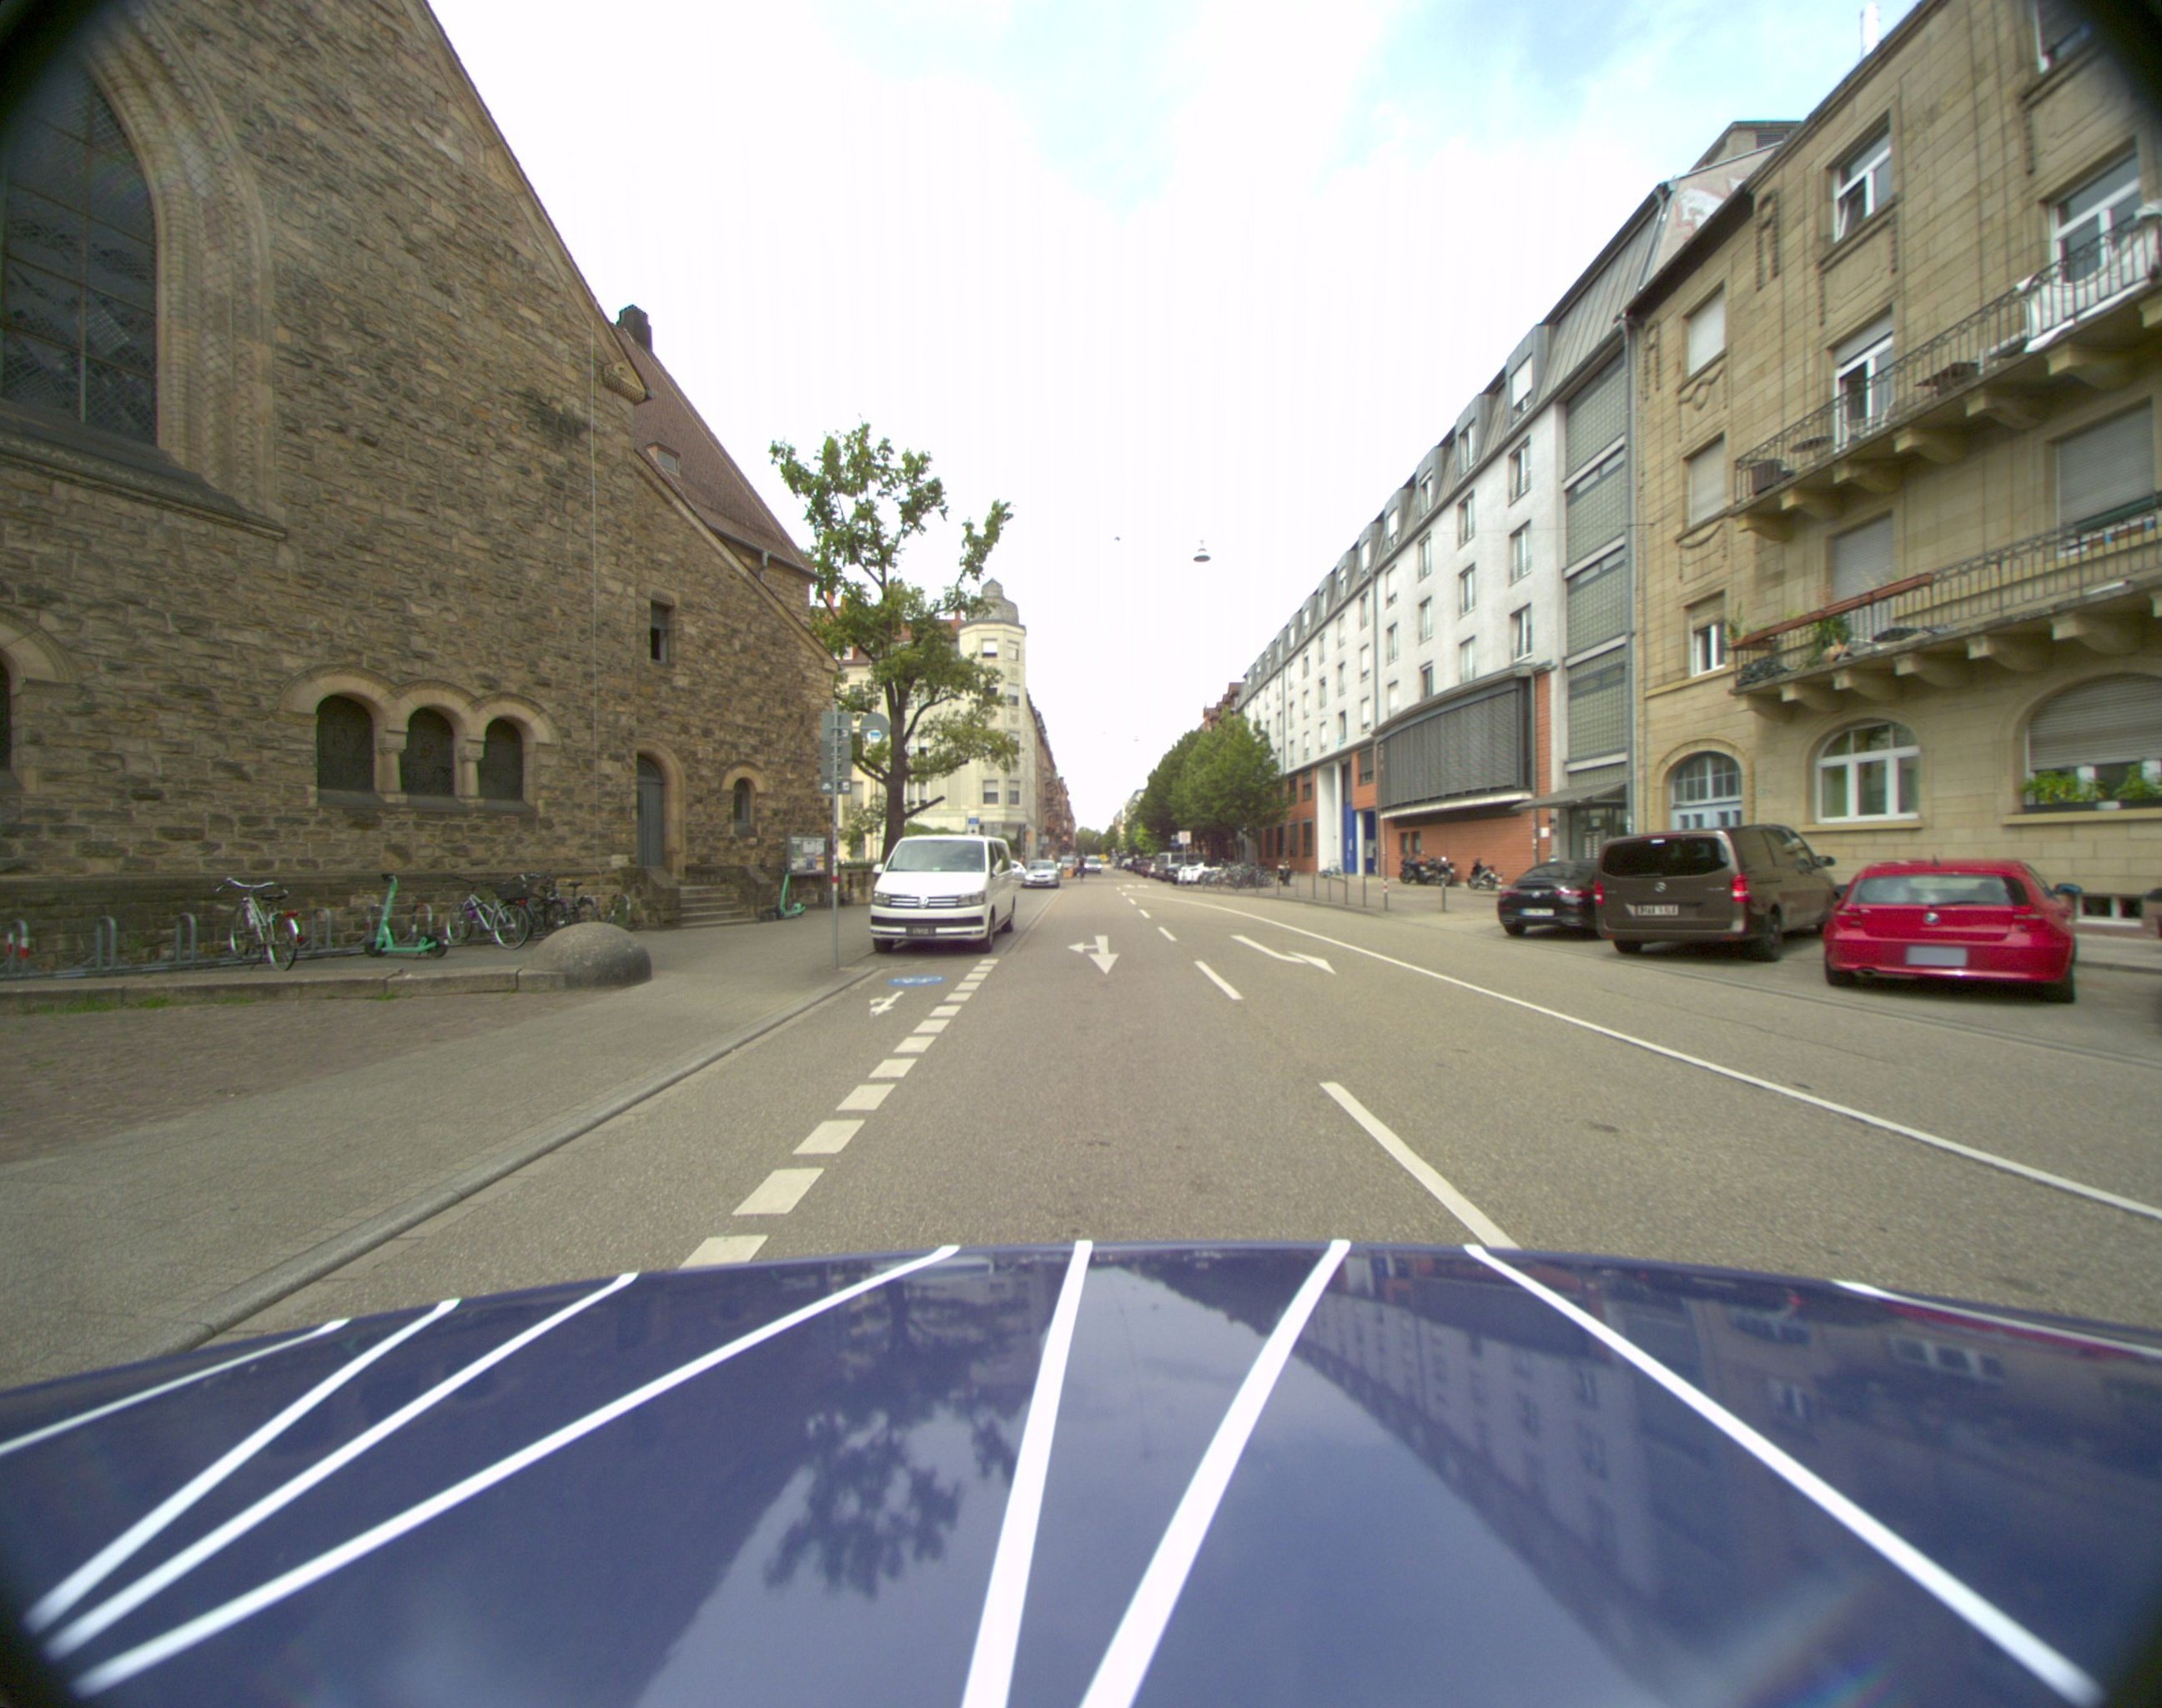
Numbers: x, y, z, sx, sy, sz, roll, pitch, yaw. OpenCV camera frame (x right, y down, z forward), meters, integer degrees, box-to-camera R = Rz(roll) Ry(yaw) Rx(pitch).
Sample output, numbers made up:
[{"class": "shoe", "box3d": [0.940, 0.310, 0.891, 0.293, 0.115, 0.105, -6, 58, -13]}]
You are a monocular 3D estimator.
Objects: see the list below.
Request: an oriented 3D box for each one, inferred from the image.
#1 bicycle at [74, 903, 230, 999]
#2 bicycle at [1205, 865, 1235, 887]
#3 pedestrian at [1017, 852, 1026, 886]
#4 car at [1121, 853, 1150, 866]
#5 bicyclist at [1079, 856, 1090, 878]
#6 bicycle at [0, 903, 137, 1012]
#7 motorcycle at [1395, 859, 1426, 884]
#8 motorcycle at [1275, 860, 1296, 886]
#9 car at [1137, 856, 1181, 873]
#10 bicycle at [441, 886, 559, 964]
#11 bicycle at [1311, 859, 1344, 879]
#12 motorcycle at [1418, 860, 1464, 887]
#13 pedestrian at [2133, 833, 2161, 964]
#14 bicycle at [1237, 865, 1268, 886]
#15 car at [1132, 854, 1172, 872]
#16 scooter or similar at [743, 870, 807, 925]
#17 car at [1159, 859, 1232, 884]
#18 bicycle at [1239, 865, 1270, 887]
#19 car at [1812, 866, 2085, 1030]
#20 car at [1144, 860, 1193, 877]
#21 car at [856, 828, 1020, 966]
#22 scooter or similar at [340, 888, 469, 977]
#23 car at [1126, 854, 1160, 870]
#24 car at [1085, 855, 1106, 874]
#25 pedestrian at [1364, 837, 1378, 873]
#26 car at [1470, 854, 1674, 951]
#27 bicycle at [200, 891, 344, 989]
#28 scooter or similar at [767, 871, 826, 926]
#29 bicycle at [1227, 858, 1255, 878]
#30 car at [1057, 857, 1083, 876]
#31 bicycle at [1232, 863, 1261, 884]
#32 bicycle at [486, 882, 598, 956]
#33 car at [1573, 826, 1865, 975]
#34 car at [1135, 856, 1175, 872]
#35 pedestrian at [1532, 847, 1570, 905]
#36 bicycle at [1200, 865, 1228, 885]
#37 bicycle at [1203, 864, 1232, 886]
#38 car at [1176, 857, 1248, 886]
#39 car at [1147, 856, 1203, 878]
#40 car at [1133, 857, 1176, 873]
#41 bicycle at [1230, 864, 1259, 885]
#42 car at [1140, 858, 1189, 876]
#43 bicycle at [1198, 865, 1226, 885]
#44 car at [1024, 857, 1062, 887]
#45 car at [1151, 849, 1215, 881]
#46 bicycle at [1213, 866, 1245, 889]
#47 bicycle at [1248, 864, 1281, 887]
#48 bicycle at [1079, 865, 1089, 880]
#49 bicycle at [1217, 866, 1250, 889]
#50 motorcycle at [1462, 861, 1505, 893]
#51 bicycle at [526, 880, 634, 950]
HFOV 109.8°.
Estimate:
[{"class": "bicycle", "box3d": [-10.505, 1.064, 8.591, 1.778, 0.951, 0.547, 0, 0, 20]}, {"class": "bicycle", "box3d": [7.036, 1.136, 38.535, 1.409, 1.032, 0.402, -3, 0, 3]}, {"class": "pedestrian", "box3d": [-3.083, 0.784, 39.368, 0.468, 1.725, 0.410, 0, 0, 0]}, {"class": "car", "box3d": [8.195, 0.813, 114.219, 4.012, 1.746, 1.687, -1, -1, -32]}, {"class": "bicyclist", "box3d": [0.203, 0.817, 49.023, 0.649, 1.408, 1.094, -1, 0, 2]}, {"class": "bicycle", "box3d": [-10.790, 1.044, 7.975, 1.778, 0.952, 0.547, 2, 1, 20]}, {"class": "motorcycle", "box3d": [14.297, 0.754, 32.979, 0.585, 1.042, 1.657, -2, 0, -1]}, {"class": "motorcycle", "box3d": [9.792, 0.903, 36.438, 0.585, 1.166, 1.780, -2, 0, 3]}, {"class": "car", "box3d": [7.609, 1.045, 74.091, 4.012, 1.558, 1.687, -1, -1, -32]}, {"class": "bicycle", "box3d": [-8.914, 1.058, 11.658, 1.778, 1.105, 0.547, 0, 0, 20]}, {"class": "bicycle", "box3d": [14.250, 0.866, 43.967, 1.613, 0.920, 0.932, -6, -1, 13]}, {"class": "motorcycle", "box3d": [14.451, 0.763, 30.559, 0.585, 1.042, 1.965, -2, 0, -10]}, {"class": "pedestrian", "box3d": [13.480, 0.529, 9.085, 0.793, 1.585, 0.679, -3, 1, 1]}, {"class": "bicycle", "box3d": [8.500, 1.074, 37.674, 1.409, 1.020, 0.402, -1, 0, 3]}, {"class": "car", "box3d": [7.763, 0.985, 82.985, 4.052, 1.846, 1.687, -1, -1, -32]}, {"class": "scooter or similar", "box3d": [-7.166, 0.990, 17.861, 0.545, 1.200, 1.483, 0, 0, 21]}, {"class": "car", "box3d": [7.054, 1.044, 46.696, 4.324, 1.460, 1.713, -1, 0, -33]}, {"class": "bicycle", "box3d": [8.470, 1.072, 37.138, 1.409, 1.020, 0.402, -1, 0, 3]}, {"class": "car", "box3d": [10.088, 0.881, 8.798, 4.020, 1.401, 1.792, -1, 0, -38]}, {"class": "car", "box3d": [7.348, 1.199, 63.655, 4.012, 1.381, 1.592, -1, -1, -32]}, {"class": "car", "box3d": [-2.314, 0.677, 13.767, 2.019, 2.017, 5.123, 1, -1, 0]}, {"class": "scooter or similar", "box3d": [-9.403, 1.062, 10.560, 1.778, 1.133, 0.547, 0, 0, 20]}, {"class": "car", "box3d": [7.849, 1.002, 96.038, 4.012, 1.846, 1.687, -1, -1, -32]}, {"class": "car", "box3d": [1.595, 1.113, 81.556, 1.942, 1.913, 4.008, -1, -1, 5]}, {"class": "pedestrian", "box3d": [16.178, 0.067, 42.372, 0.729, 2.002, 0.783, 0, 0, 20]}, {"class": "car", "box3d": [9.783, 0.863, 14.994, 4.679, 1.401, 1.895, -4, 0, -38]}, {"class": "bicycle", "box3d": [-10.055, 1.035, 9.438, 1.778, 1.105, 0.547, 0, 0, 20]}, {"class": "scooter or similar", "box3d": [-6.556, 1.005, 17.556, 0.545, 1.200, 1.444, 0, 0, 14]}, {"class": "bicycle", "box3d": [8.563, 0.736, 40.744, 1.409, 1.020, 0.402, -1, 0, 3]}, {"class": "car", "box3d": [-0.966, 1.117, 67.610, 1.853, 1.661, 4.008, -1, -1, 5]}, {"class": "bicycle", "box3d": [8.493, 1.000, 38.977, 1.409, 1.020, 0.402, -1, 0, 3]}, {"class": "bicycle", "box3d": [-8.682, 1.016, 12.232, 1.771, 1.105, 0.547, 0, 0, 20]}, {"class": "car", "box3d": [10.227, 0.576, 12.039, 5.280, 1.899, 2.116, -1, 0, -33]}, {"class": "car", "box3d": [7.820, 1.057, 80.217, 4.012, 1.672, 1.687, -1, -1, -32]}, {"class": "pedestrian", "box3d": [12.189, 0.570, 19.718, 0.662, 1.477, 0.508, -1, 0, -13]}, {"class": "bicycle", "box3d": [7.068, 1.120, 40.450, 1.409, 1.020, 0.402, -3, 0, 3]}, {"class": "bicycle", "box3d": [7.037, 1.072, 39.177, 1.409, 1.020, 0.402, -3, 0, 3]}, {"class": "car", "box3d": [7.660, 0.996, 44.226, 4.012, 1.536, 1.599, -1, 0, -30]}, {"class": "car", "box3d": [7.186, 0.972, 58.026, 4.012, 1.605, 1.708, -1, -1, -32]}, {"class": "car", "box3d": [7.423, 1.084, 76.662, 4.012, 1.558, 1.687, -1, -1, -32]}, {"class": "bicycle", "box3d": [8.500, 1.070, 39.463, 1.409, 1.020, 0.402, -1, 0, 3]}, {"class": "car", "box3d": [7.263, 1.121, 65.870, 4.012, 1.445, 1.687, -1, -1, -32]}, {"class": "bicycle", "box3d": [7.084, 1.139, 41.258, 1.409, 1.020, 0.402, -3, 0, 3]}, {"class": "car", "box3d": [-1.935, 0.918, 39.456, 1.759, 1.459, 4.418, 0, 0, 0]}, {"class": "car", "box3d": [7.044, 0.754, 52.449, 4.011, 1.986, 1.857, -3, 1, -30]}, {"class": "bicycle", "box3d": [7.127, 1.134, 36.532, 1.409, 1.032, 0.402, -3, 0, 3]}, {"class": "bicycle", "box3d": [8.659, 1.026, 35.892, 1.409, 1.020, 0.402, -1, 0, 3]}, {"class": "bicycle", "box3d": [0.204, 1.210, 48.903, 0.586, 0.927, 1.783, -1, -1, 2]}, {"class": "bicycle", "box3d": [7.135, 1.101, 35.640, 1.409, 1.032, 0.402, -3, 0, 3]}, {"class": "motorcycle", "box3d": [14.212, 0.795, 26.858, 0.585, 1.042, 1.794, -2, 0, 2]}, {"class": "bicycle", "box3d": [-8.474, 1.001, 12.848, 1.778, 1.105, 0.547, 0, 0, 20]}]
